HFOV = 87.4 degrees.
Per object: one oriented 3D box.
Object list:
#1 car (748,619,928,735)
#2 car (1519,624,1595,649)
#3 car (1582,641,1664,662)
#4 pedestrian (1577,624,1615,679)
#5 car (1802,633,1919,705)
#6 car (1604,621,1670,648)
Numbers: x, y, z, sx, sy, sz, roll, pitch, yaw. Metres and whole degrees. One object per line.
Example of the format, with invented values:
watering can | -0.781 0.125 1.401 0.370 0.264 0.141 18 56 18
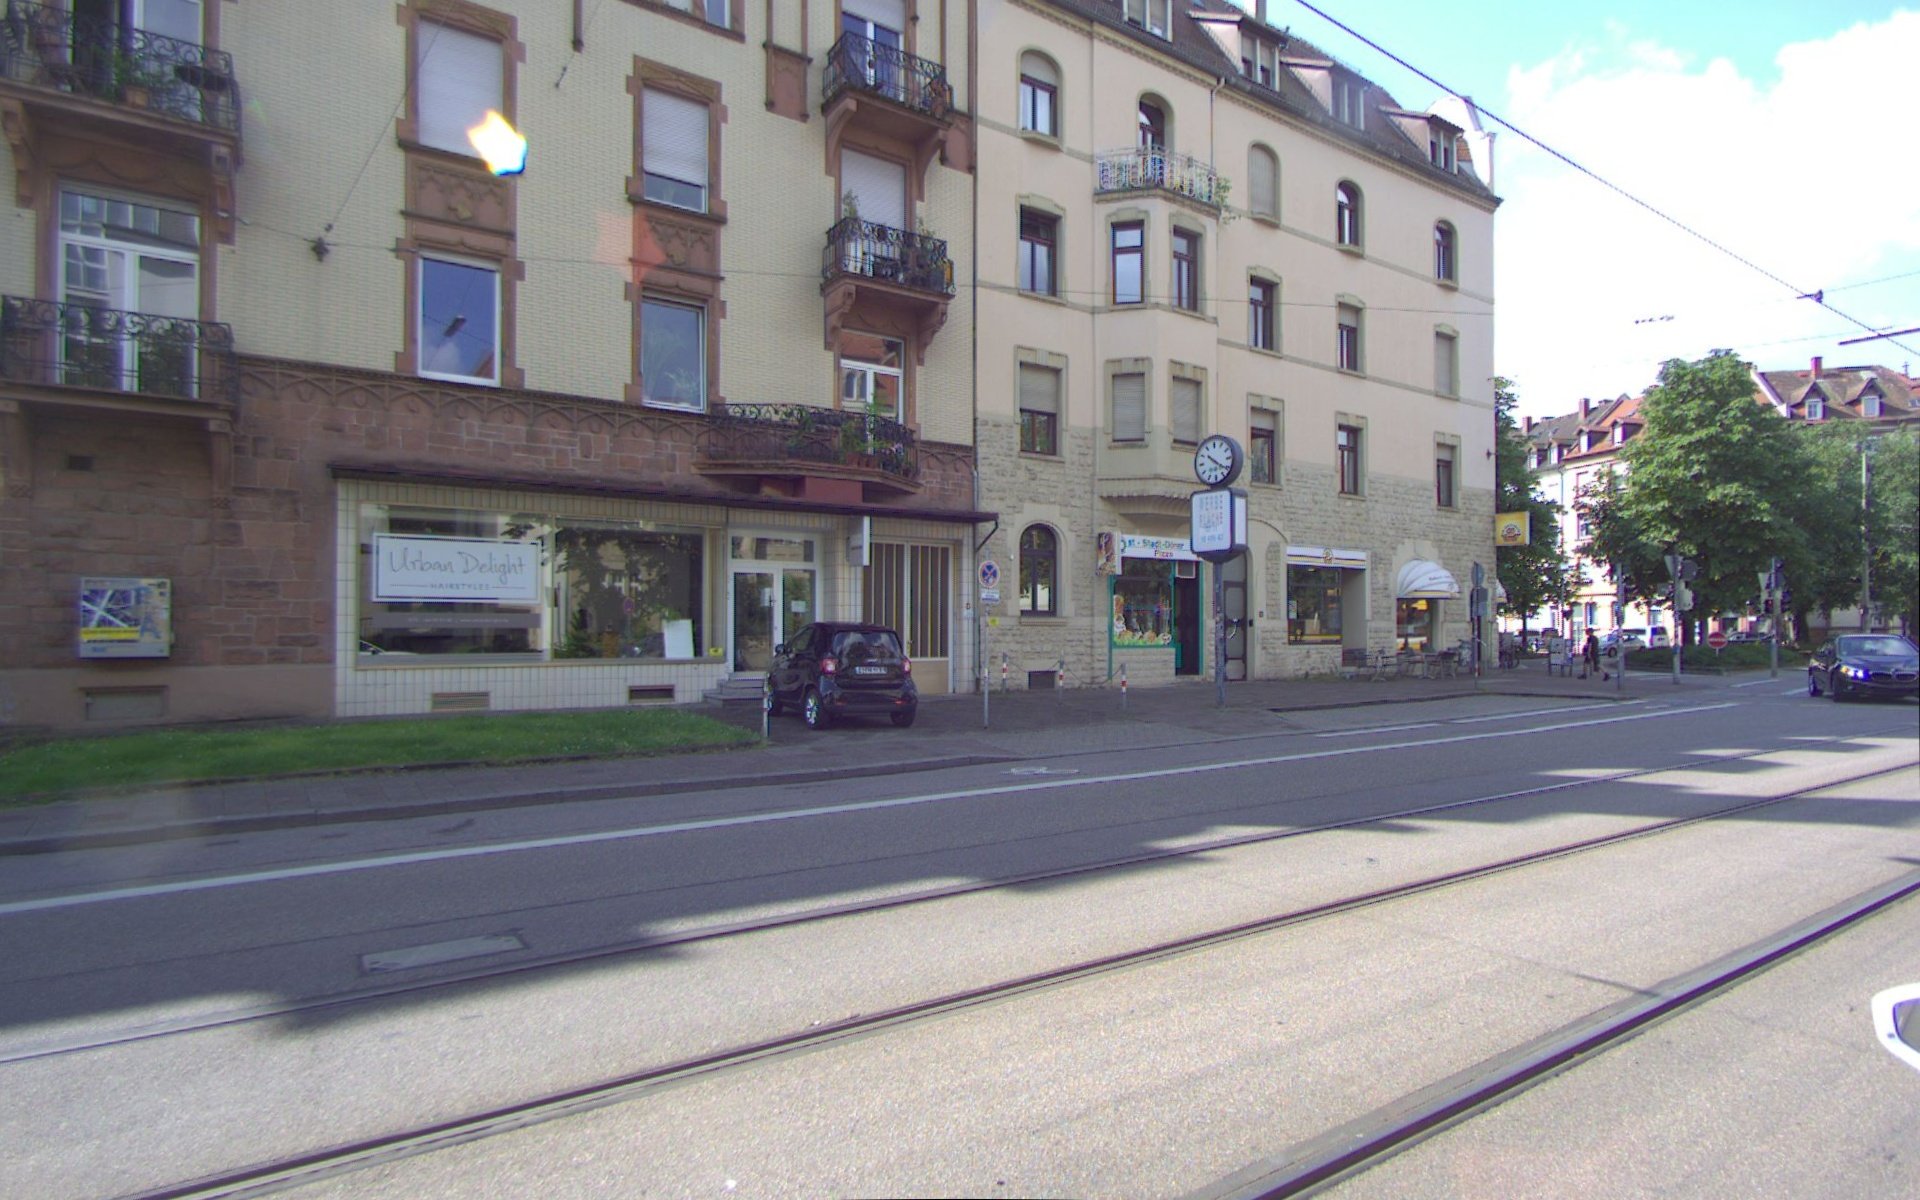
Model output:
car | -2.009 1.121 15.866 1.716 1.505 3.163 1 1 -30
car | 40.288 2.475 67.885 1.976 1.617 3.970 1 -2 -29
car | 40.107 3.106 60.820 3.924 1.198 1.678 0 -2 -5
pedestrian | 19.994 1.615 31.588 0.690 1.706 0.750 1 -2 -21
car | 21.262 1.543 23.590 1.731 1.538 4.058 -1 -2 33
car | 50.243 2.546 74.614 1.962 1.929 3.997 0 -2 -5
